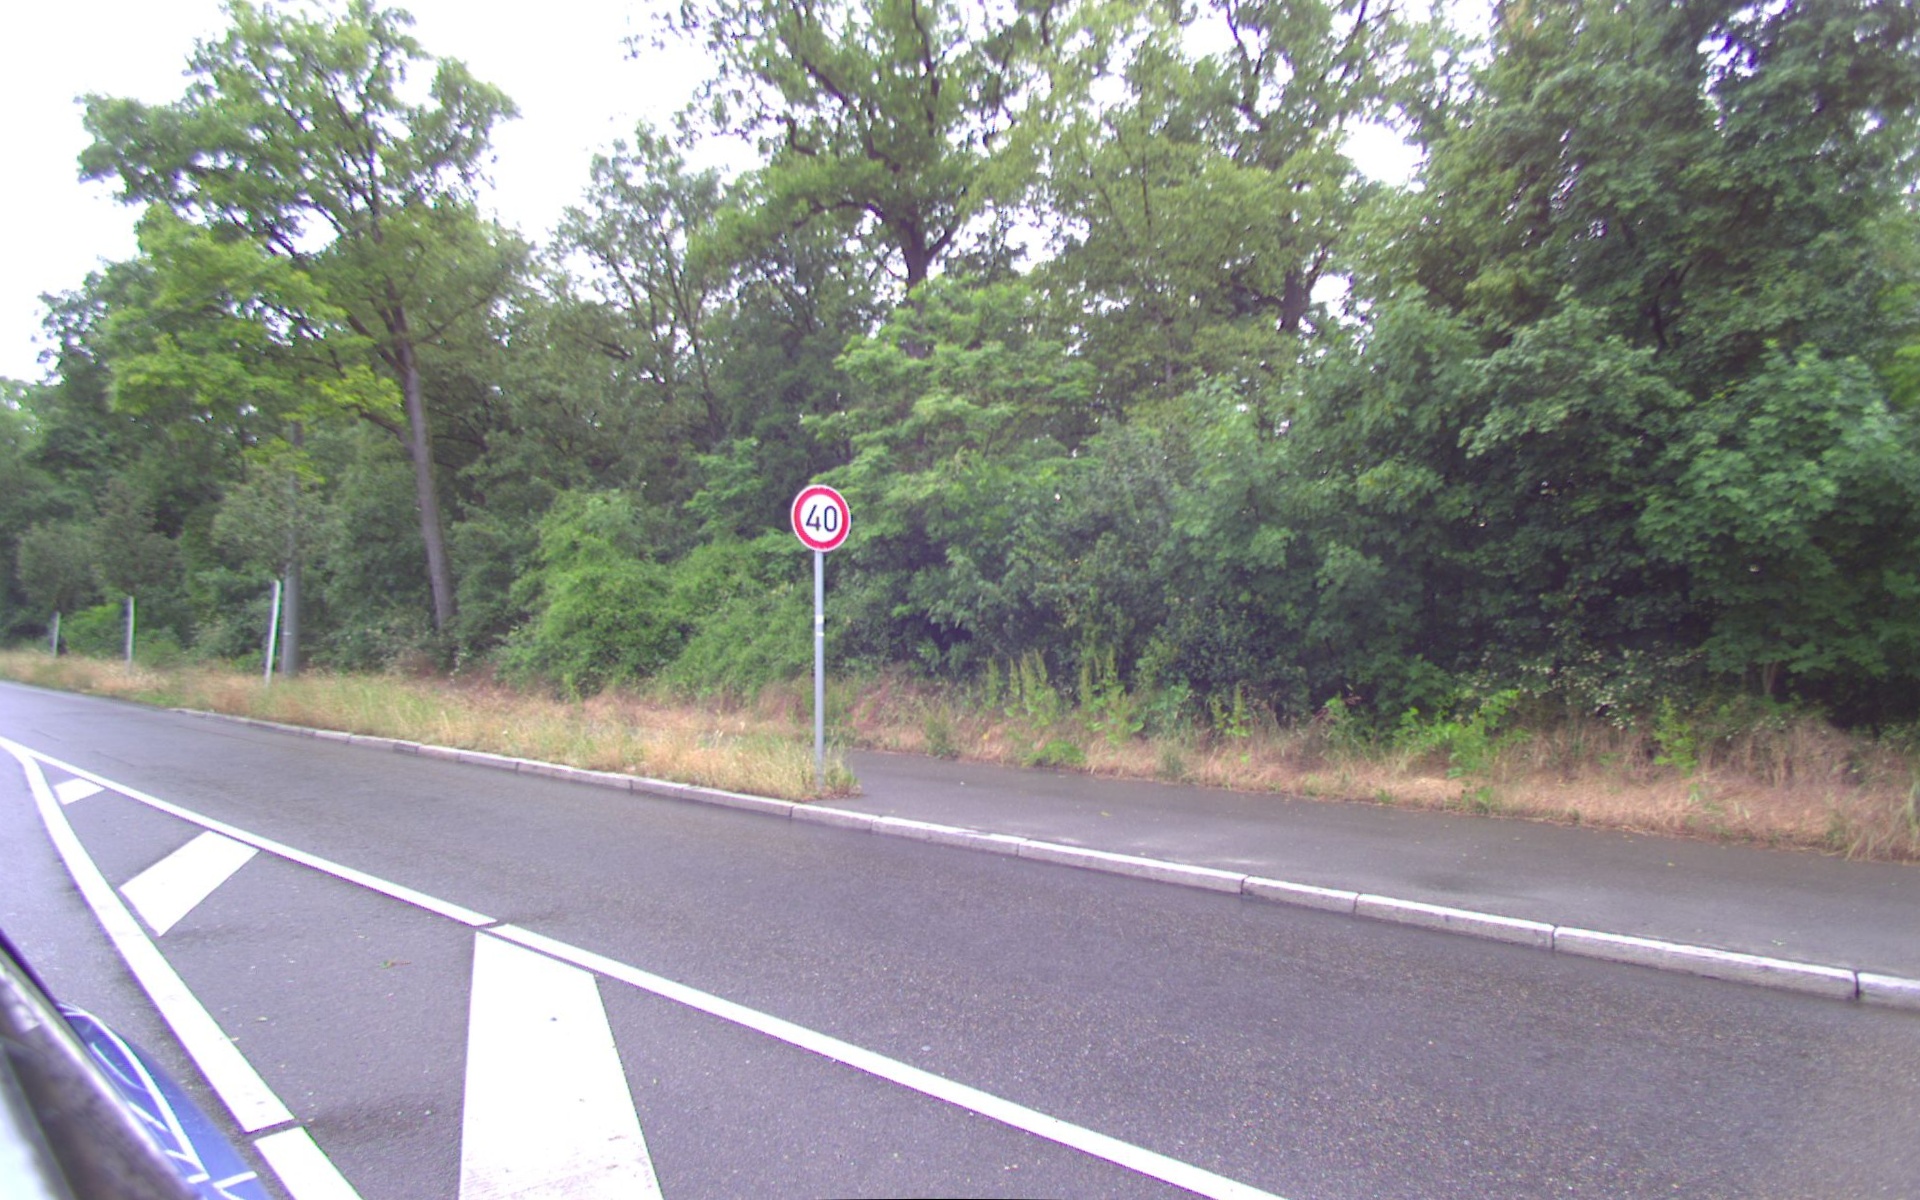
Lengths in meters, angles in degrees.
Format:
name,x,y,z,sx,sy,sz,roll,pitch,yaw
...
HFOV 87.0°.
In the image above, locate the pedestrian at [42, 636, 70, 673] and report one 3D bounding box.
name,x,y,z,sx,sy,sz,roll,pitch,yaw
pedestrian,-40.553,2.440,45.398,0.731,1.620,0.773,-2,-3,38
